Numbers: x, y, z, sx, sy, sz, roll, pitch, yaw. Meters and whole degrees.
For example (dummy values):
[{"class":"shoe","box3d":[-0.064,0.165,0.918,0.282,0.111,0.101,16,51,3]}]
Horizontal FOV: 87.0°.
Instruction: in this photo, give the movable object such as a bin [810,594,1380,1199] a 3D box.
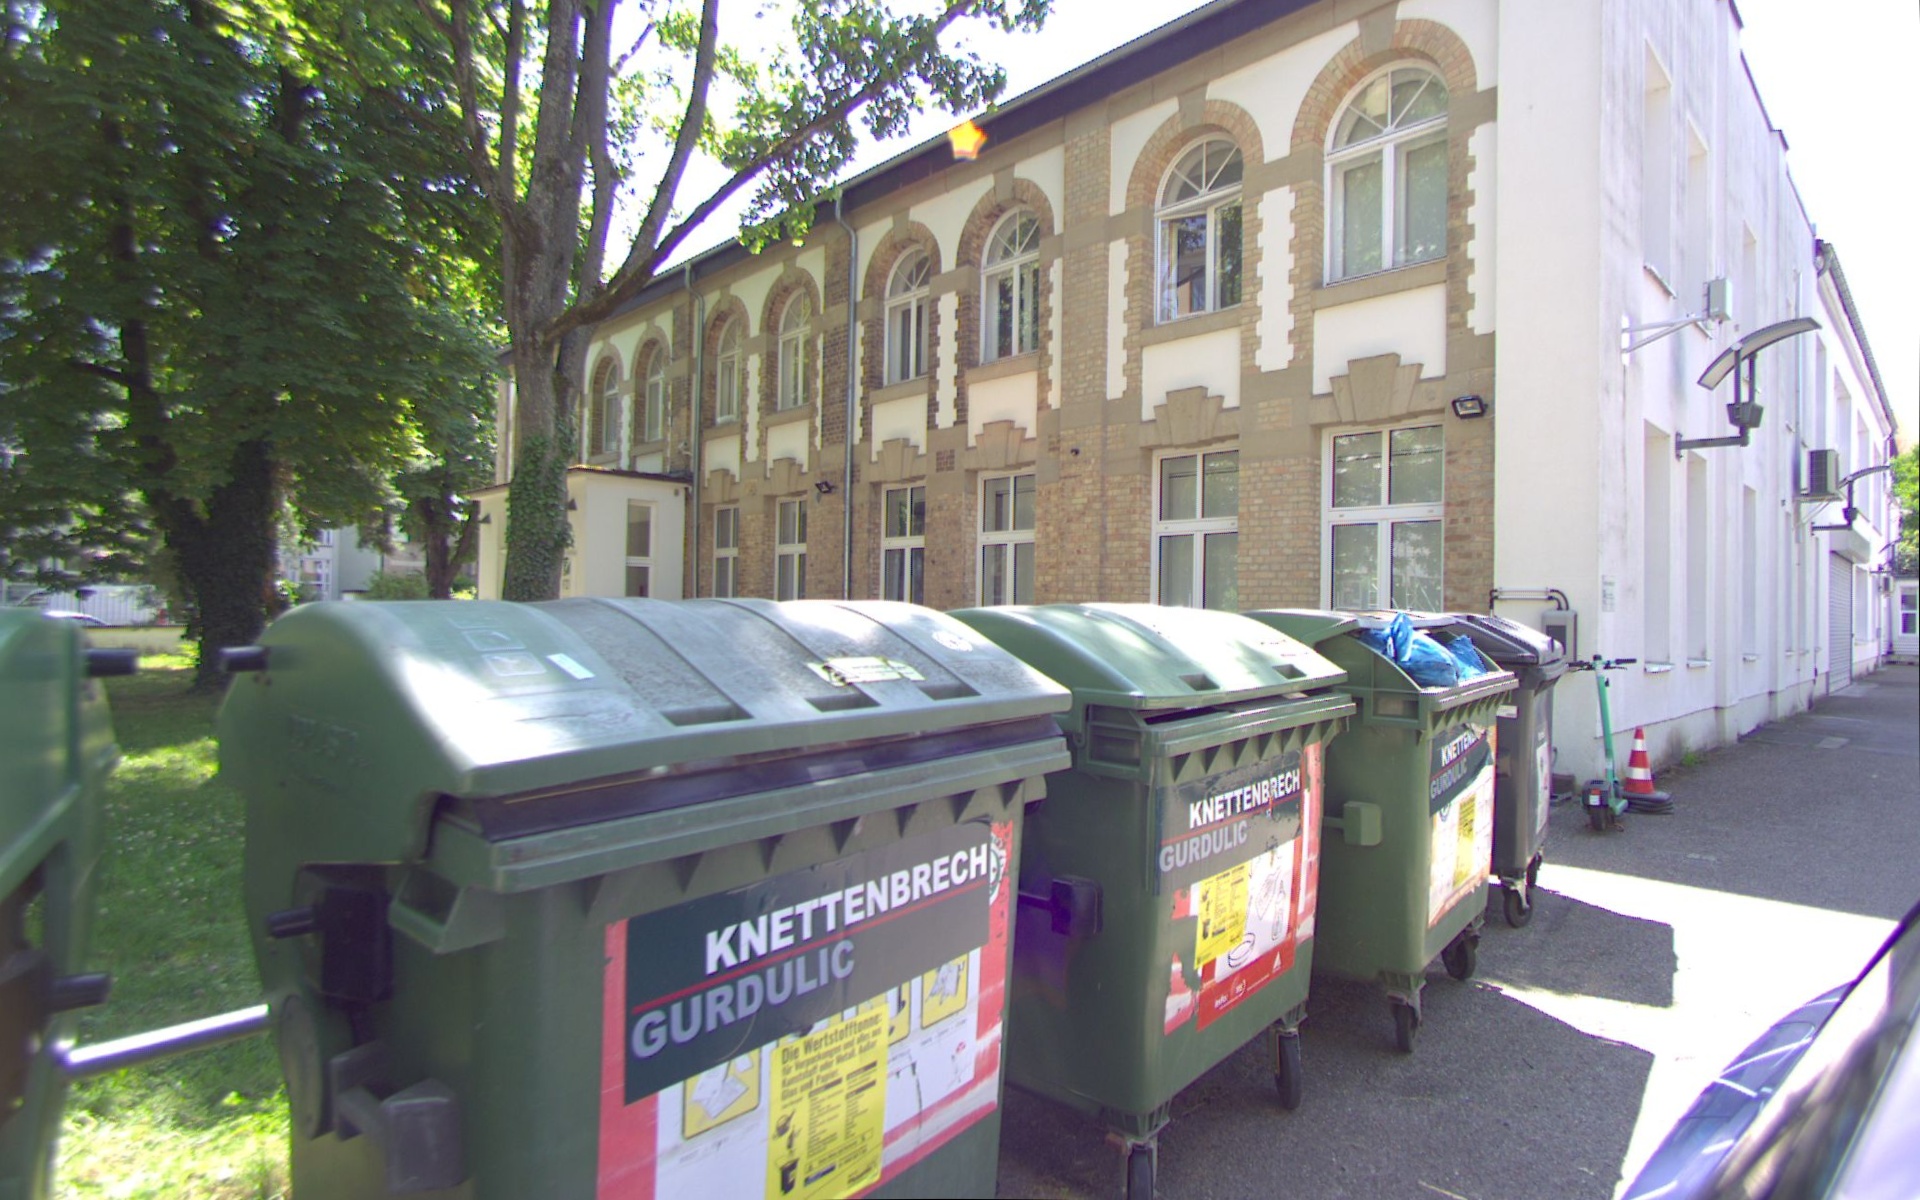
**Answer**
[{"class":"movable object such as a bin","box3d":[0.428,0.731,3.033,1.178,1.488,1.292,-1,0,42]}]

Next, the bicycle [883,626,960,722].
[{"class":"bicycle","box3d":[-0.453,0.893,12.830,0.465,1.117,1.827,1,-1,14]}]

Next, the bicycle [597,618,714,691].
[{"class":"bicycle","box3d":[-5.104,0.880,17.046,1.811,1.157,0.588,1,-1,-43]}]

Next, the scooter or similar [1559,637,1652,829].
[{"class":"scooter or similar","box3d":[4.578,0.874,7.147,0.462,1.189,1.339,0,-1,37]}]

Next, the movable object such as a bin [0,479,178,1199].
[{"class":"movable object such as a bin","box3d":[-1.589,0.657,0.900,1.307,1.488,1.183,0,0,-33]}]

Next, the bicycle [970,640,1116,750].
[{"class":"bicycle","box3d":[0.934,0.989,11.007,1.804,1.081,0.503,2,-2,-43]}]

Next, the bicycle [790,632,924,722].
[{"class":"bicycle","box3d":[-1.331,0.972,13.317,1.804,1.084,0.522,1,-1,-43]}]

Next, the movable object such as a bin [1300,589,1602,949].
[{"class":"movable object such as a bin","box3d":[2.571,0.717,5.231,1.152,1.524,1.443,-1,0,37]}]

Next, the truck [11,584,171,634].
[{"class":"truck","box3d":[-34.074,0.327,39.848,4.551,1.856,1.657,0,0,-30]}]

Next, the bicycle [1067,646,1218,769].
[{"class":"bicycle","box3d":[1.851,1.015,10.058,1.804,1.081,0.503,2,-1,-43]}]

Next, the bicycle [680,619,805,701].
[{"class":"bicycle","box3d":[-3.282,0.879,15.375,1.811,1.157,0.588,1,-1,-43]}]

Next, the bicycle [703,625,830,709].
[{"class":"bicycle","box3d":[-2.826,0.953,14.914,1.811,1.157,0.588,1,-1,-43]}]

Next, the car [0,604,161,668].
[{"class":"car","box3d":[-22.797,0.862,25.516,1.683,1.482,3.914,1,0,18]}]

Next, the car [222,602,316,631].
[{"class":"car","box3d":[-31.504,0.741,46.213,3.270,1.307,1.501,0,0,-19]}]

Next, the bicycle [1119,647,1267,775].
[{"class":"bicycle","box3d":[2.262,1.007,9.678,1.804,1.081,0.454,2,-1,-43]}]

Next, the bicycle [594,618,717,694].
[{"class":"bicycle","box3d":[-4.883,0.877,16.298,1.808,1.157,0.589,1,-1,-39]}]

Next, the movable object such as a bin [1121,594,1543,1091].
[{"class":"movable object such as a bin","box3d":[1.464,0.725,3.920,1.177,1.488,1.293,-1,0,40]}]

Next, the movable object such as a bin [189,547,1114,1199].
[{"class":"movable object such as a bin","box3d":[-0.547,0.687,1.955,1.177,1.488,1.292,-1,0,40]}]

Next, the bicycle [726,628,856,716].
[{"class":"bicycle","box3d":[-2.384,0.990,14.456,1.811,1.157,0.588,1,-1,-43]}]

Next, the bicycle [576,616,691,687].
[{"class":"bicycle","box3d":[-5.646,0.863,17.561,1.811,1.157,0.588,1,-1,-43]}]

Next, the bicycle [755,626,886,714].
[{"class":"bicycle","box3d":[-1.881,0.925,13.858,1.811,1.114,0.522,1,-1,-43]}]

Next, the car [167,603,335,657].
[{"class":"car","box3d":[-21.104,0.846,30.324,1.683,1.482,3.914,1,0,18]}]

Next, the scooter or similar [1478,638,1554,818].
[{"class":"scooter or similar","box3d":[4.154,0.900,7.586,0.461,1.189,1.243,0,-1,28]}]

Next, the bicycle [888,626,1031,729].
[{"class":"bicycle","box3d":[0.026,0.880,11.925,1.804,1.117,0.522,2,-2,-43]}]

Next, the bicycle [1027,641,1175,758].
[{"class":"bicycle","box3d":[1.492,0.986,10.499,1.804,1.081,0.503,1,-1,-43]}]

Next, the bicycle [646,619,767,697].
[{"class":"bicycle","box3d":[-4.011,0.894,16.134,1.811,1.157,0.588,1,-1,-43]}]

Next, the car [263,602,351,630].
[{"class":"car","box3d":[-31.648,0.766,49.120,3.270,1.307,1.501,0,0,-15]}]
